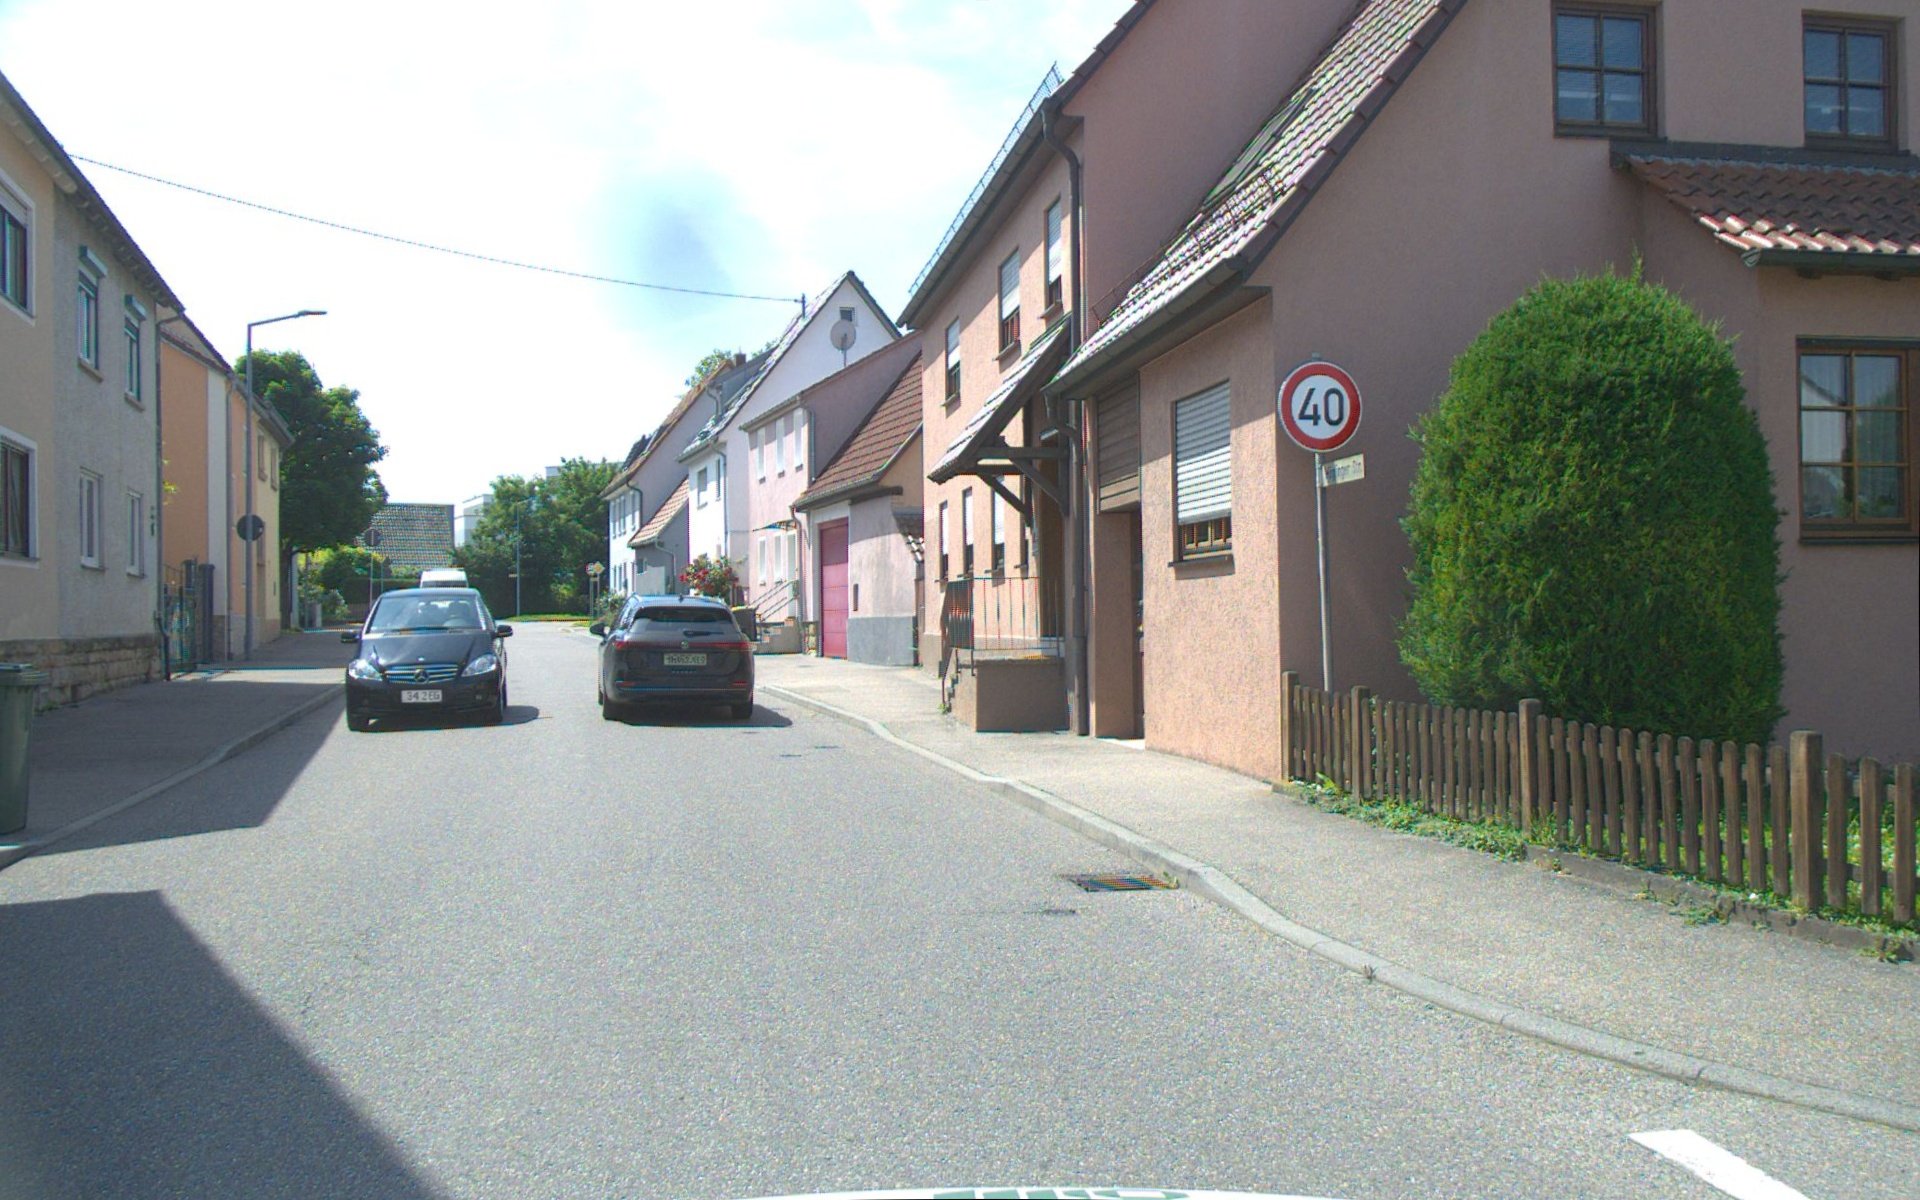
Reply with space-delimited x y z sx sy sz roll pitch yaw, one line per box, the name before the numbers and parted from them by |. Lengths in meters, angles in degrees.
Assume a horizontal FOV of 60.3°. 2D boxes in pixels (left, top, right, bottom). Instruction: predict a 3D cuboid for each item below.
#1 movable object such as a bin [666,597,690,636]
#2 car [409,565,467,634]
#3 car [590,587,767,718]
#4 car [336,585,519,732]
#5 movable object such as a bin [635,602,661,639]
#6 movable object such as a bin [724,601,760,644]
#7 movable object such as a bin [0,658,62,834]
movable object such as a bin | -8.972 0.520 52.567 0.654 1.215 0.657 0 0 -18
car | -20.763 -0.034 65.915 2.081 2.607 5.800 -1 0 -17
car | -3.641 0.608 20.737 1.810 1.445 4.664 0 -1 -14
car | -6.435 0.626 20.359 1.769 1.583 4.057 -1 1 -13
movable object such as a bin | -9.957 0.660 52.726 0.669 1.175 0.815 1 0 -22
movable object such as a bin | -5.698 0.586 43.201 0.669 1.068 0.829 -5 2 -22
movable object such as a bin | -6.329 0.931 10.704 0.740 1.079 0.677 0 0 -12
